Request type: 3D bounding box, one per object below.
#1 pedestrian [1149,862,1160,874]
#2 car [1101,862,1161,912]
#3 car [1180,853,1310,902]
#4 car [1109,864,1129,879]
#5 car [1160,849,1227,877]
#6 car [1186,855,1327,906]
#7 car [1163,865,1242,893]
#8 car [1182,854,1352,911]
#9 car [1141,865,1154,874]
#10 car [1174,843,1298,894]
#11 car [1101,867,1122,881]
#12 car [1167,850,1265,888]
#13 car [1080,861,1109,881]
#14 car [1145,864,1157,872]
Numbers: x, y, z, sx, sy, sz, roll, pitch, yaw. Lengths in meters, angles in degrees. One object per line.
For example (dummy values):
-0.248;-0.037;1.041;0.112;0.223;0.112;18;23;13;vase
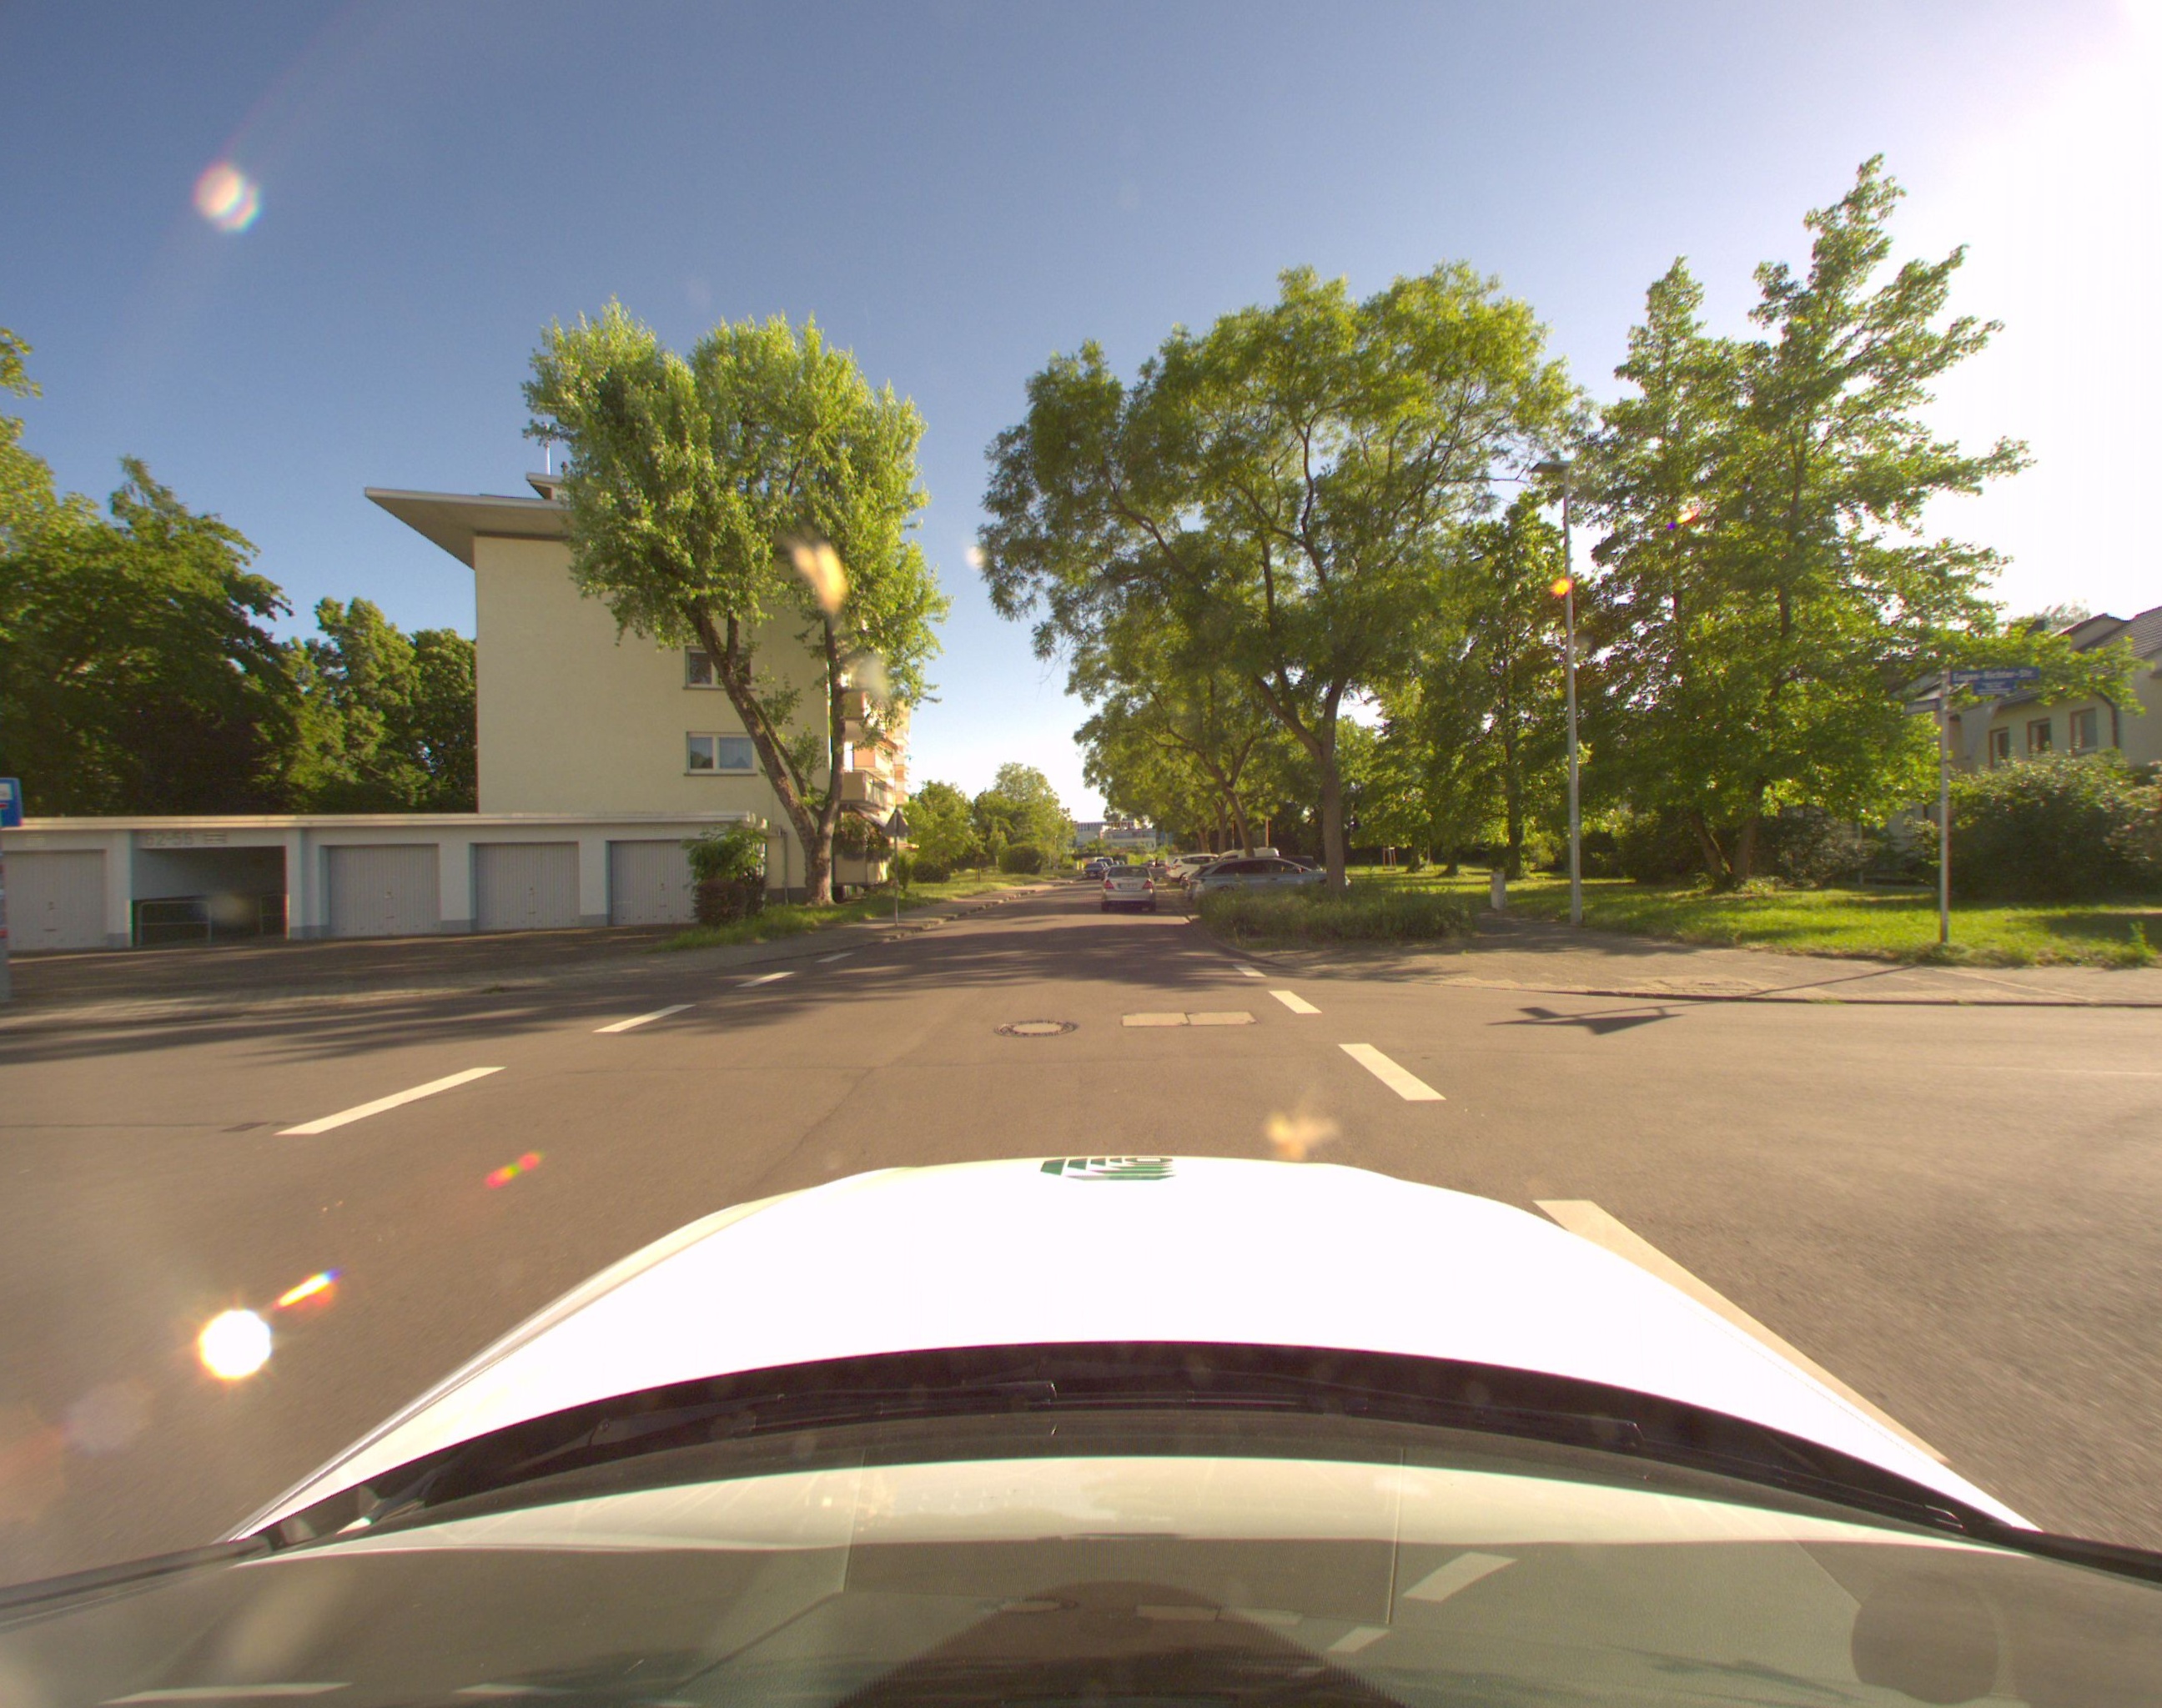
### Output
12.509;2.404;138.381;1.563;2.089;1.729;-2;-1;13;pedestrian
1.563;1.023;25.725;1.726;1.434;3.440;-1;-2;3;car
5.992;0.853;30.195;4.428;1.517;2.001;-3;-1;1;car
4.345;1.979;92.874;1.740;1.521;4.203;-3;-1;8;car
8.969;0.688;65.020;5.191;2.059;2.003;-2;-1;6;car
5.819;0.880;27.428;4.406;1.571;1.740;-2;-1;4;car
7.812;1.604;52.658;4.867;1.628;2.000;-1;-1;1;car
5.576;0.846;24.955;4.764;1.549;2.012;-2;-1;1;car
11.718;2.750;142.616;1.882;1.503;3.667;-1;-1;10;car
6.585;0.614;35.019;4.873;1.924;1.998;-2;-1;-3;car
3.235;2.134;86.365;1.739;1.330;3.460;-4;-1;10;car
6.977;0.755;42.461;4.861;1.723;2.003;-3;-1;4;car
1.155;1.421;67.815;1.903;1.490;3.844;-4;-1;7;car
13.027;2.621;150.828;1.882;1.503;3.667;-1;-1;10;car
